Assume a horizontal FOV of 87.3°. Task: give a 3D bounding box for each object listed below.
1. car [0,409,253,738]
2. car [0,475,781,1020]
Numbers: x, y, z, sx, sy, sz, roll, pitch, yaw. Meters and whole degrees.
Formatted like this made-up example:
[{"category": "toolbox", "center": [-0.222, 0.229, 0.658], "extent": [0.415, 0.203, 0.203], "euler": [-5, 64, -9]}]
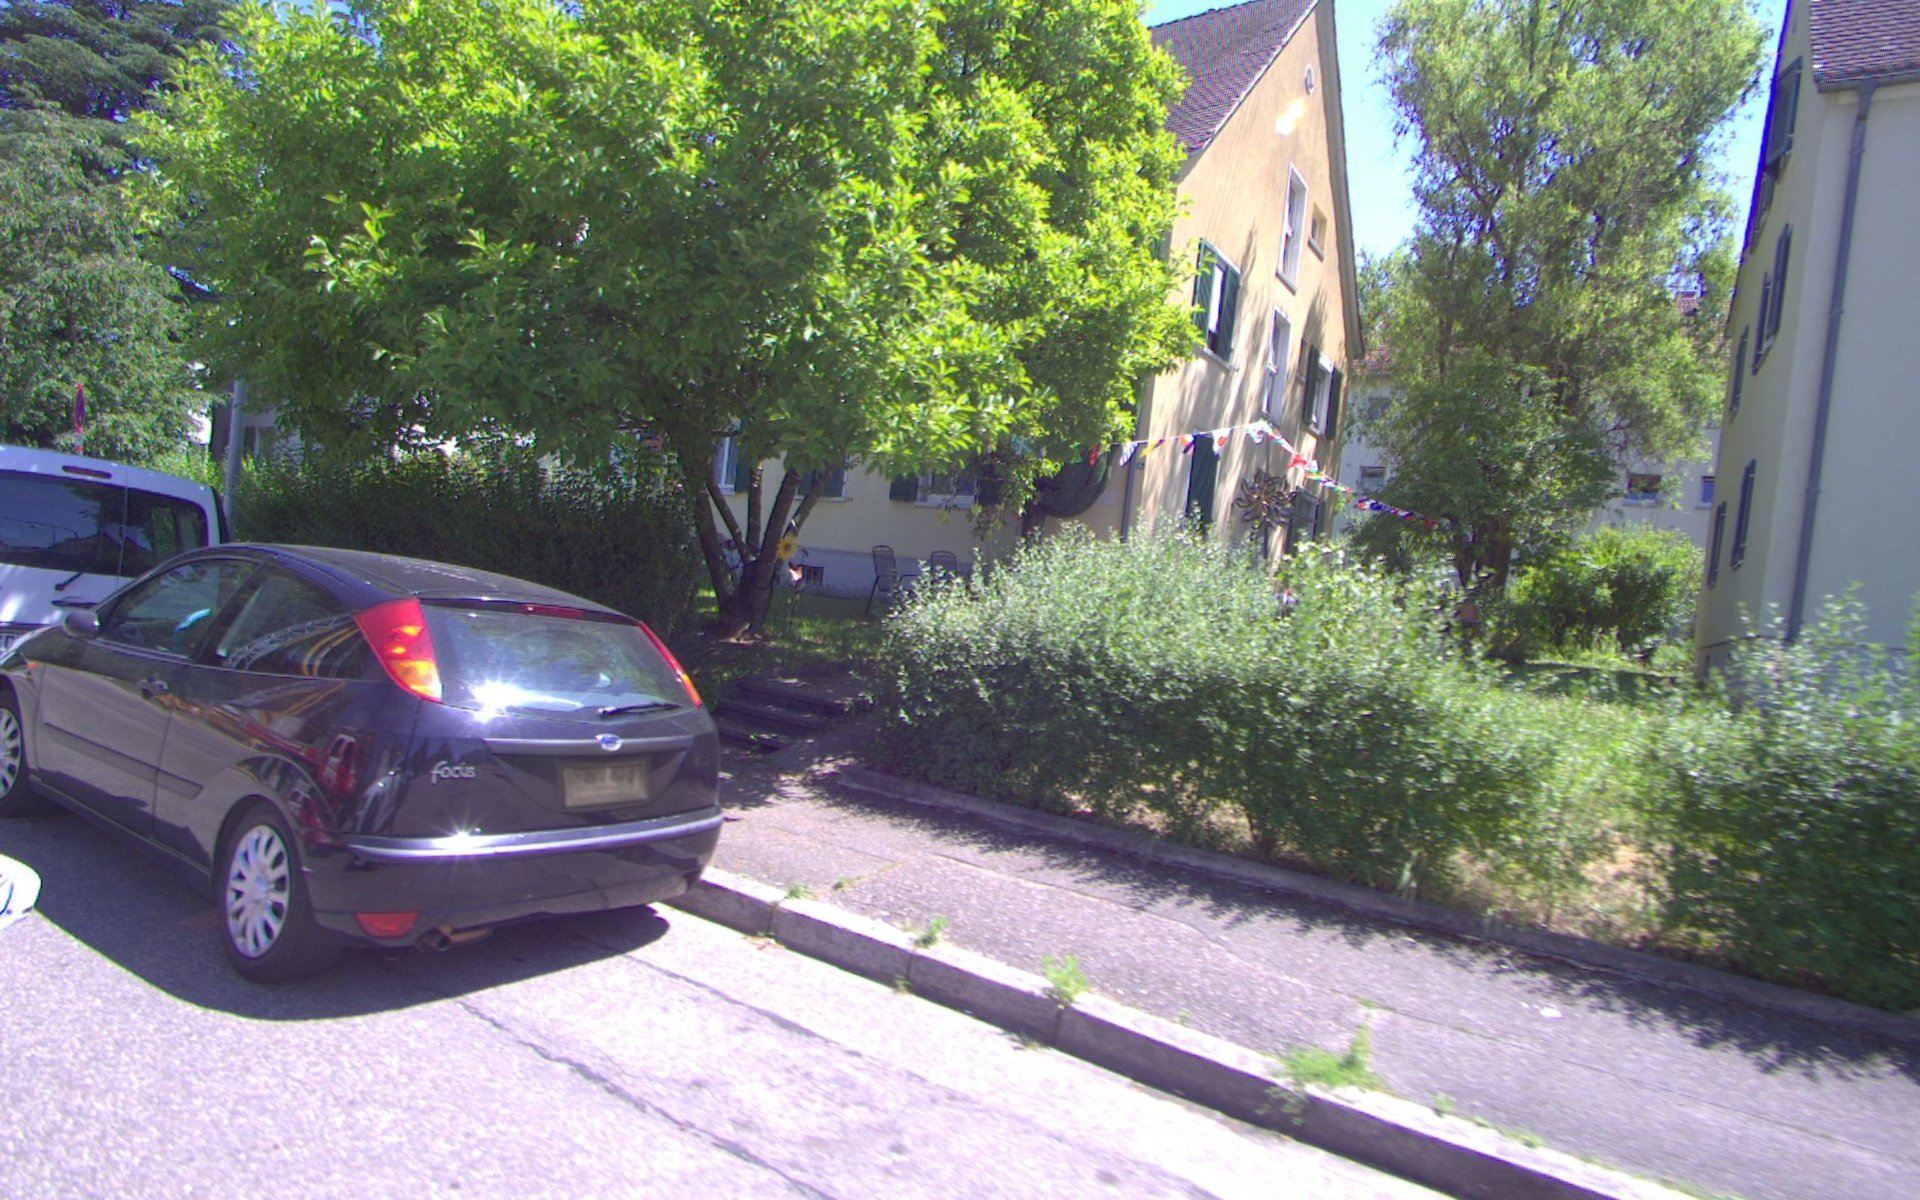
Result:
[{"category": "car", "center": [-6.925, -0.276, 7.066], "extent": [4.136, 1.823, 1.665], "euler": [6, -3, 34]}, {"category": "car", "center": [-2.934, 0.378, 4.608], "extent": [3.950, 1.479, 1.633], "euler": [6, -3, 32]}]
